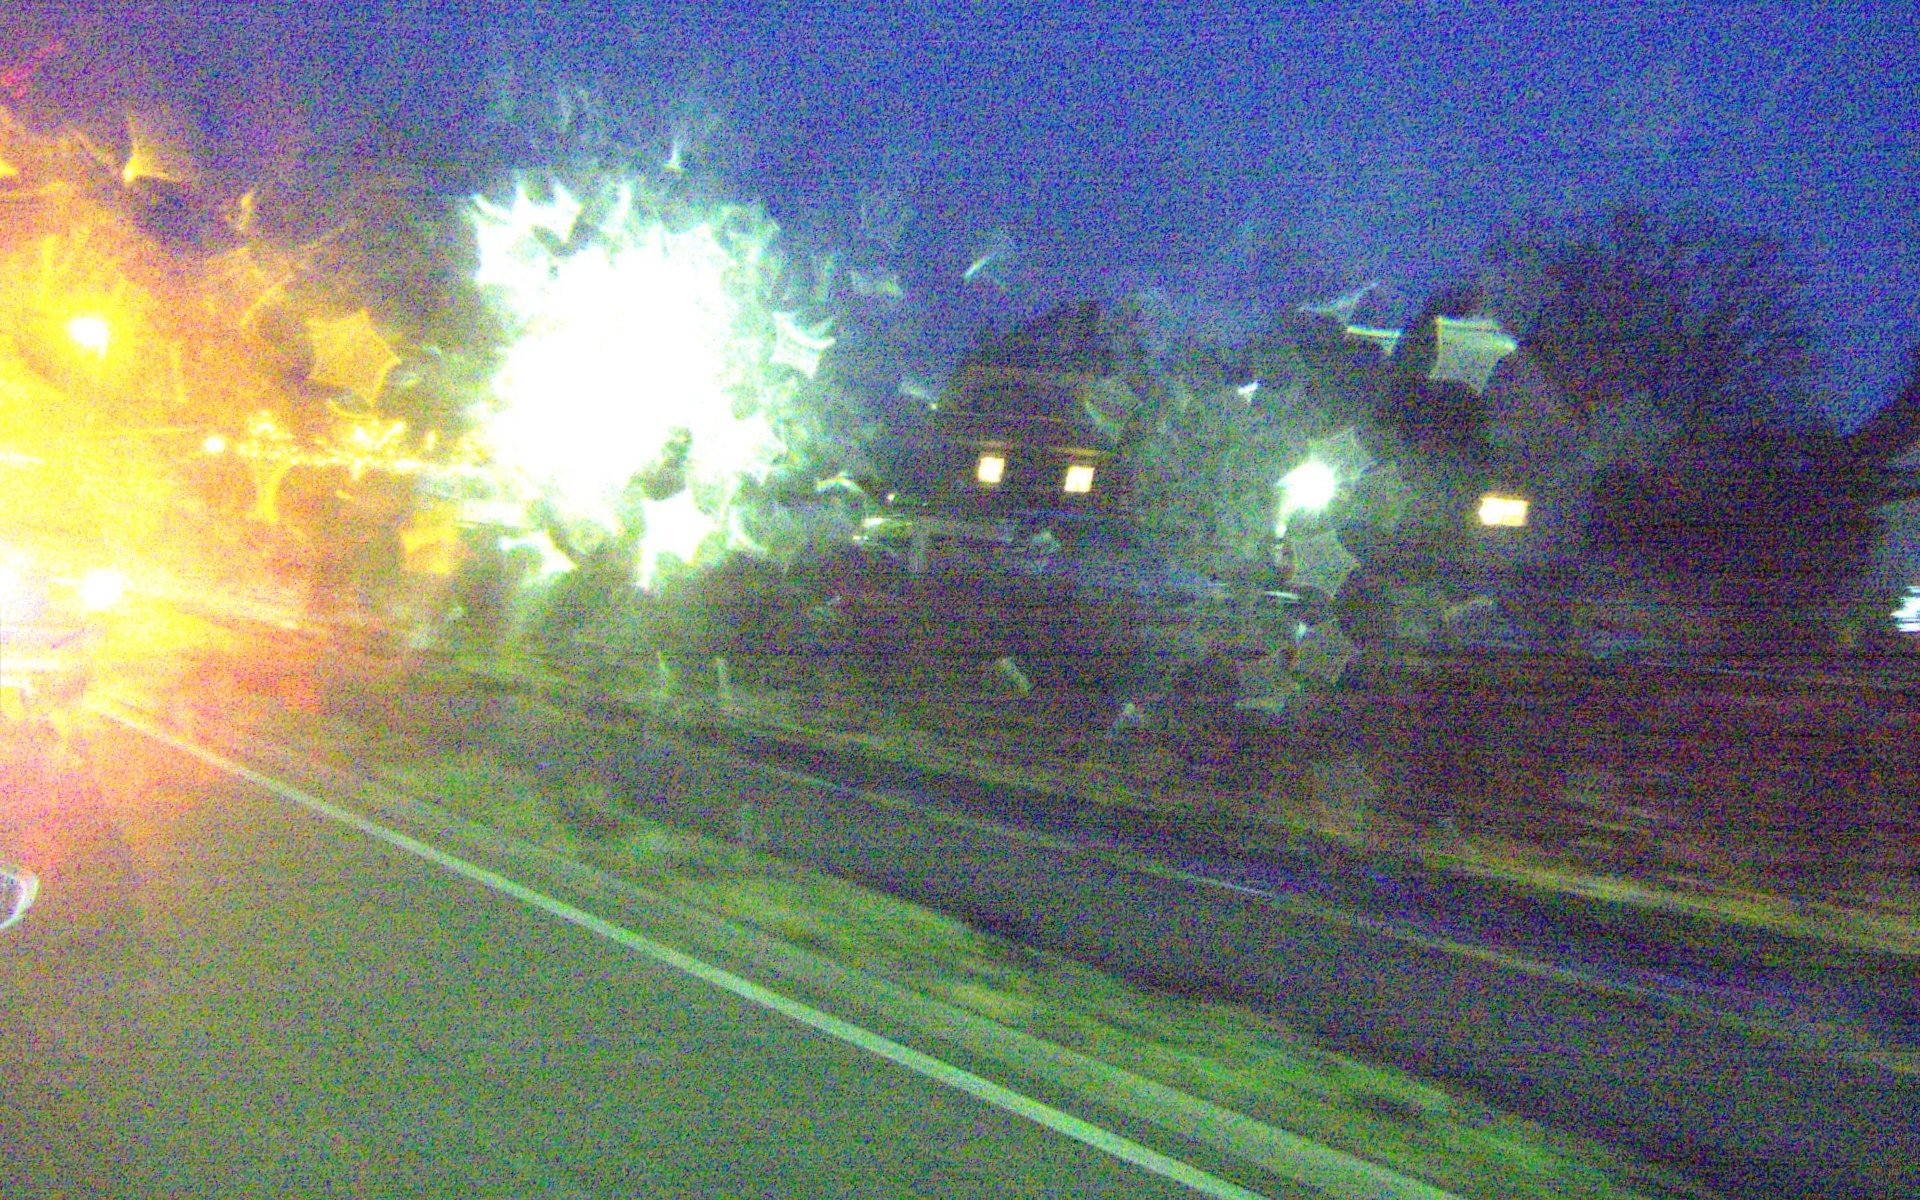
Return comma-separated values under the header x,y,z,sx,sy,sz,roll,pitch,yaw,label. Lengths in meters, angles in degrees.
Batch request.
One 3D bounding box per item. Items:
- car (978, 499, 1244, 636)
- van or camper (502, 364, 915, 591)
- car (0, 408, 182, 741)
x,y,z,sx,sy,sz,roll,pitch,yaw,label
2.554,-0.534,16.839,4.056,1.636,1.643,8,-1,16,car
-4.308,-2.092,17.607,6.238,2.942,2.591,8,-1,15,van or camper
-7.601,-0.381,7.026,4.148,1.994,1.946,7,-2,32,car
